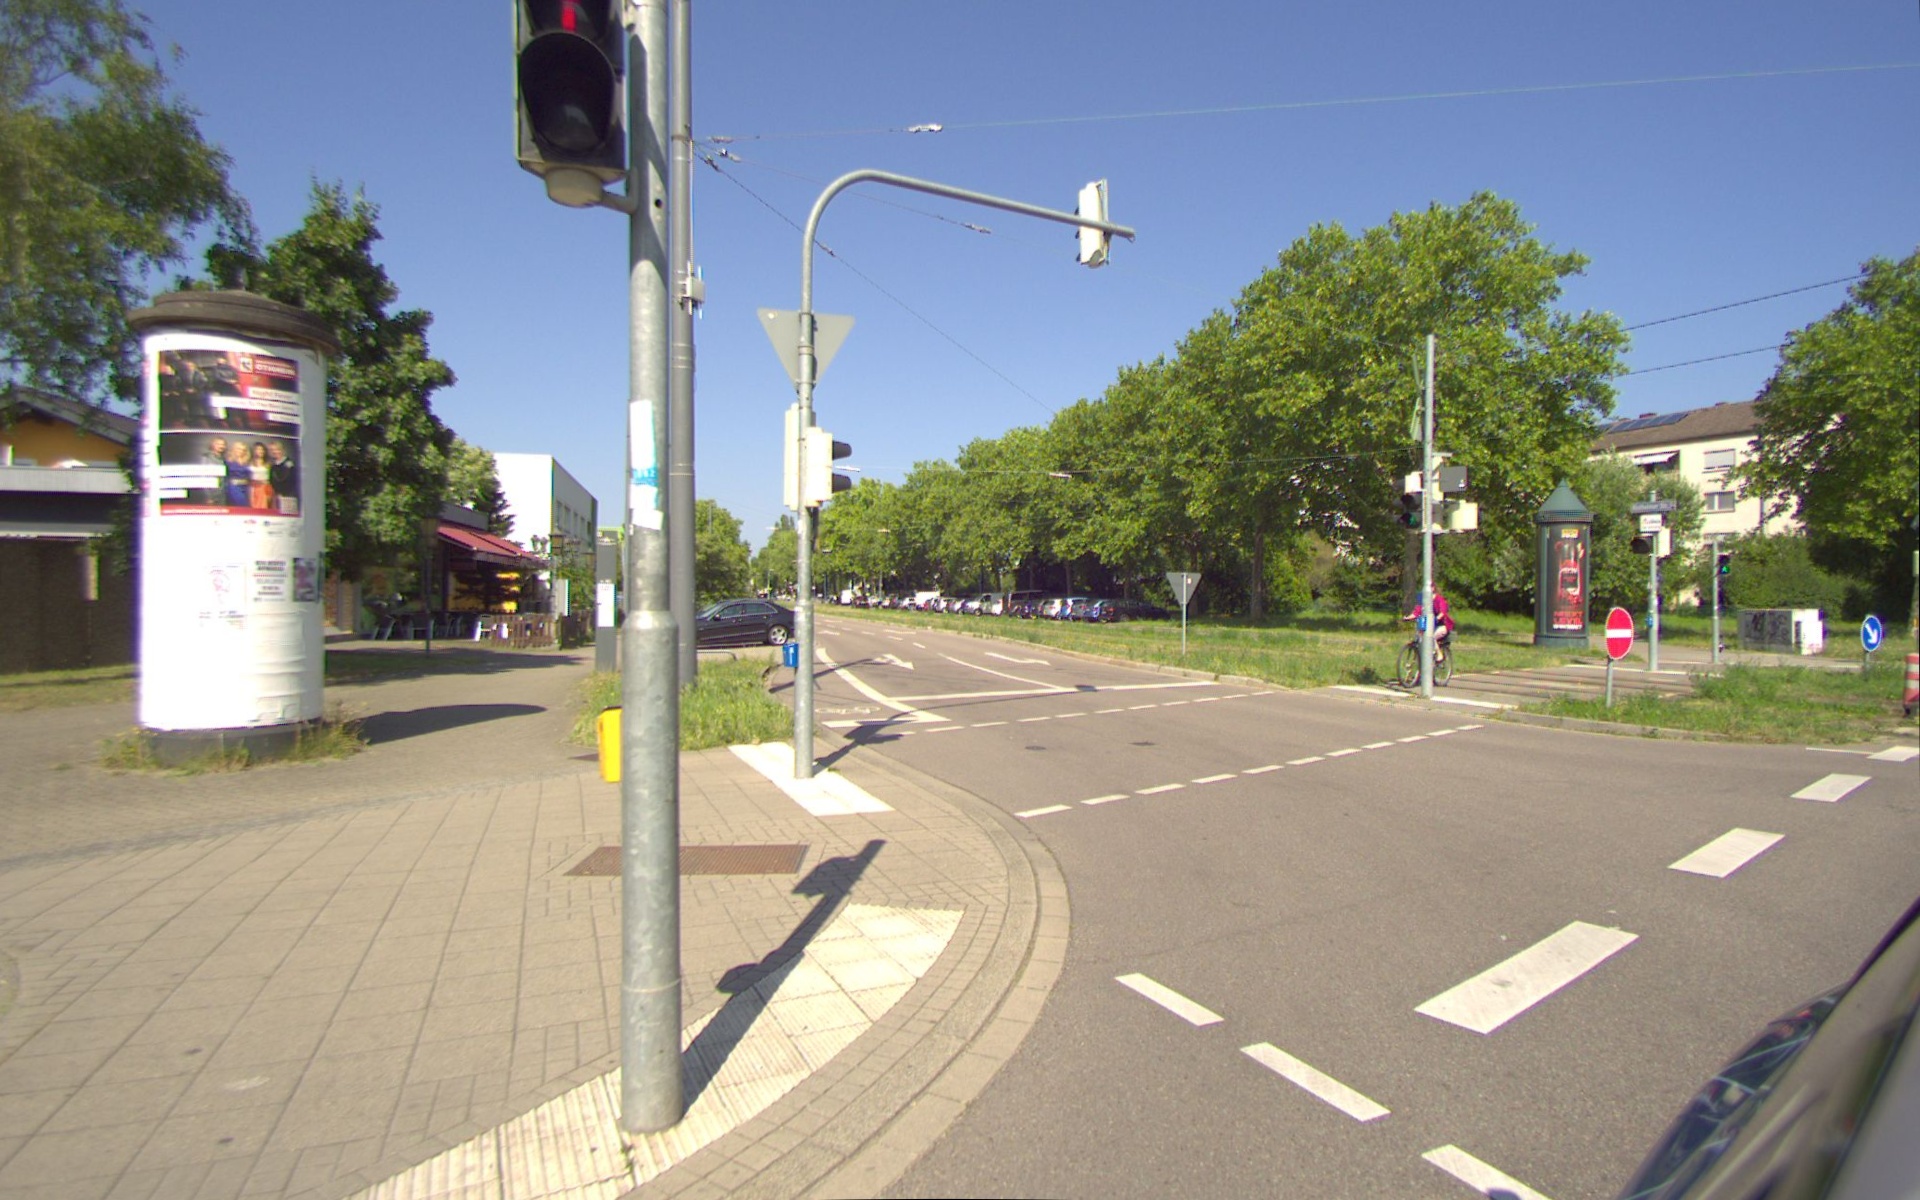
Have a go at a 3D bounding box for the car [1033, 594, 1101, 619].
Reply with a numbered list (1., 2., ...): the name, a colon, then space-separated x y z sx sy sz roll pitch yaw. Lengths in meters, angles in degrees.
1. car: 7.393 0.443 70.175 4.264 1.653 2.004 0 0 -24

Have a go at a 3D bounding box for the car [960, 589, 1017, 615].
1. car: 2.452 0.171 87.397 4.494 2.237 2.004 0 0 -24

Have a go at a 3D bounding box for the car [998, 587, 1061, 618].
1. car: 5.433 0.174 78.891 4.493 2.318 2.004 0 0 -18

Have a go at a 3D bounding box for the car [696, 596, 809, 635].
1. car: -8.677 0.612 42.467 4.135 1.518 2.138 -1 0 -42

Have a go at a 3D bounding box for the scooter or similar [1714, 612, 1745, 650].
1. scooter or similar: 25.180 0.999 33.121 0.512 1.156 1.433 -2 0 27

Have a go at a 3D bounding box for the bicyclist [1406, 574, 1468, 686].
1. bicyclist: 7.960 0.479 16.880 0.797 1.809 0.701 0 0 -44

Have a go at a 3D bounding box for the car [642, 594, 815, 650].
1. car: -7.250 0.632 31.672 5.012 1.517 2.147 -2 1 -20

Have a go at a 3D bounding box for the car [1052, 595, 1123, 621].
1. car: 8.570 0.534 68.040 4.264 1.654 2.003 0 -1 -24

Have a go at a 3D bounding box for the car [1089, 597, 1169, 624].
1. car: 10.000 0.592 59.861 4.264 1.509 2.004 -1 1 -24

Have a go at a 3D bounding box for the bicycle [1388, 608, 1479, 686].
1. bicycle: 7.901 0.744 16.839 2.090 1.200 0.691 0 0 -44

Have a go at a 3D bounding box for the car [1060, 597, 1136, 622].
1. car: 8.543 0.561 62.629 4.264 1.509 2.004 0 0 -24

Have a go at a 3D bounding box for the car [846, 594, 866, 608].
1. car: -12.251 0.120 119.039 1.756 1.676 4.007 0 -1 -15

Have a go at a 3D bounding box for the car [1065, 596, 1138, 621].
1. car: 9.125 0.525 65.289 4.264 1.509 2.004 0 0 -24

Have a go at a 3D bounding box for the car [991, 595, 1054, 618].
1. car: 4.670 0.490 75.336 4.264 1.653 2.004 0 0 -24
